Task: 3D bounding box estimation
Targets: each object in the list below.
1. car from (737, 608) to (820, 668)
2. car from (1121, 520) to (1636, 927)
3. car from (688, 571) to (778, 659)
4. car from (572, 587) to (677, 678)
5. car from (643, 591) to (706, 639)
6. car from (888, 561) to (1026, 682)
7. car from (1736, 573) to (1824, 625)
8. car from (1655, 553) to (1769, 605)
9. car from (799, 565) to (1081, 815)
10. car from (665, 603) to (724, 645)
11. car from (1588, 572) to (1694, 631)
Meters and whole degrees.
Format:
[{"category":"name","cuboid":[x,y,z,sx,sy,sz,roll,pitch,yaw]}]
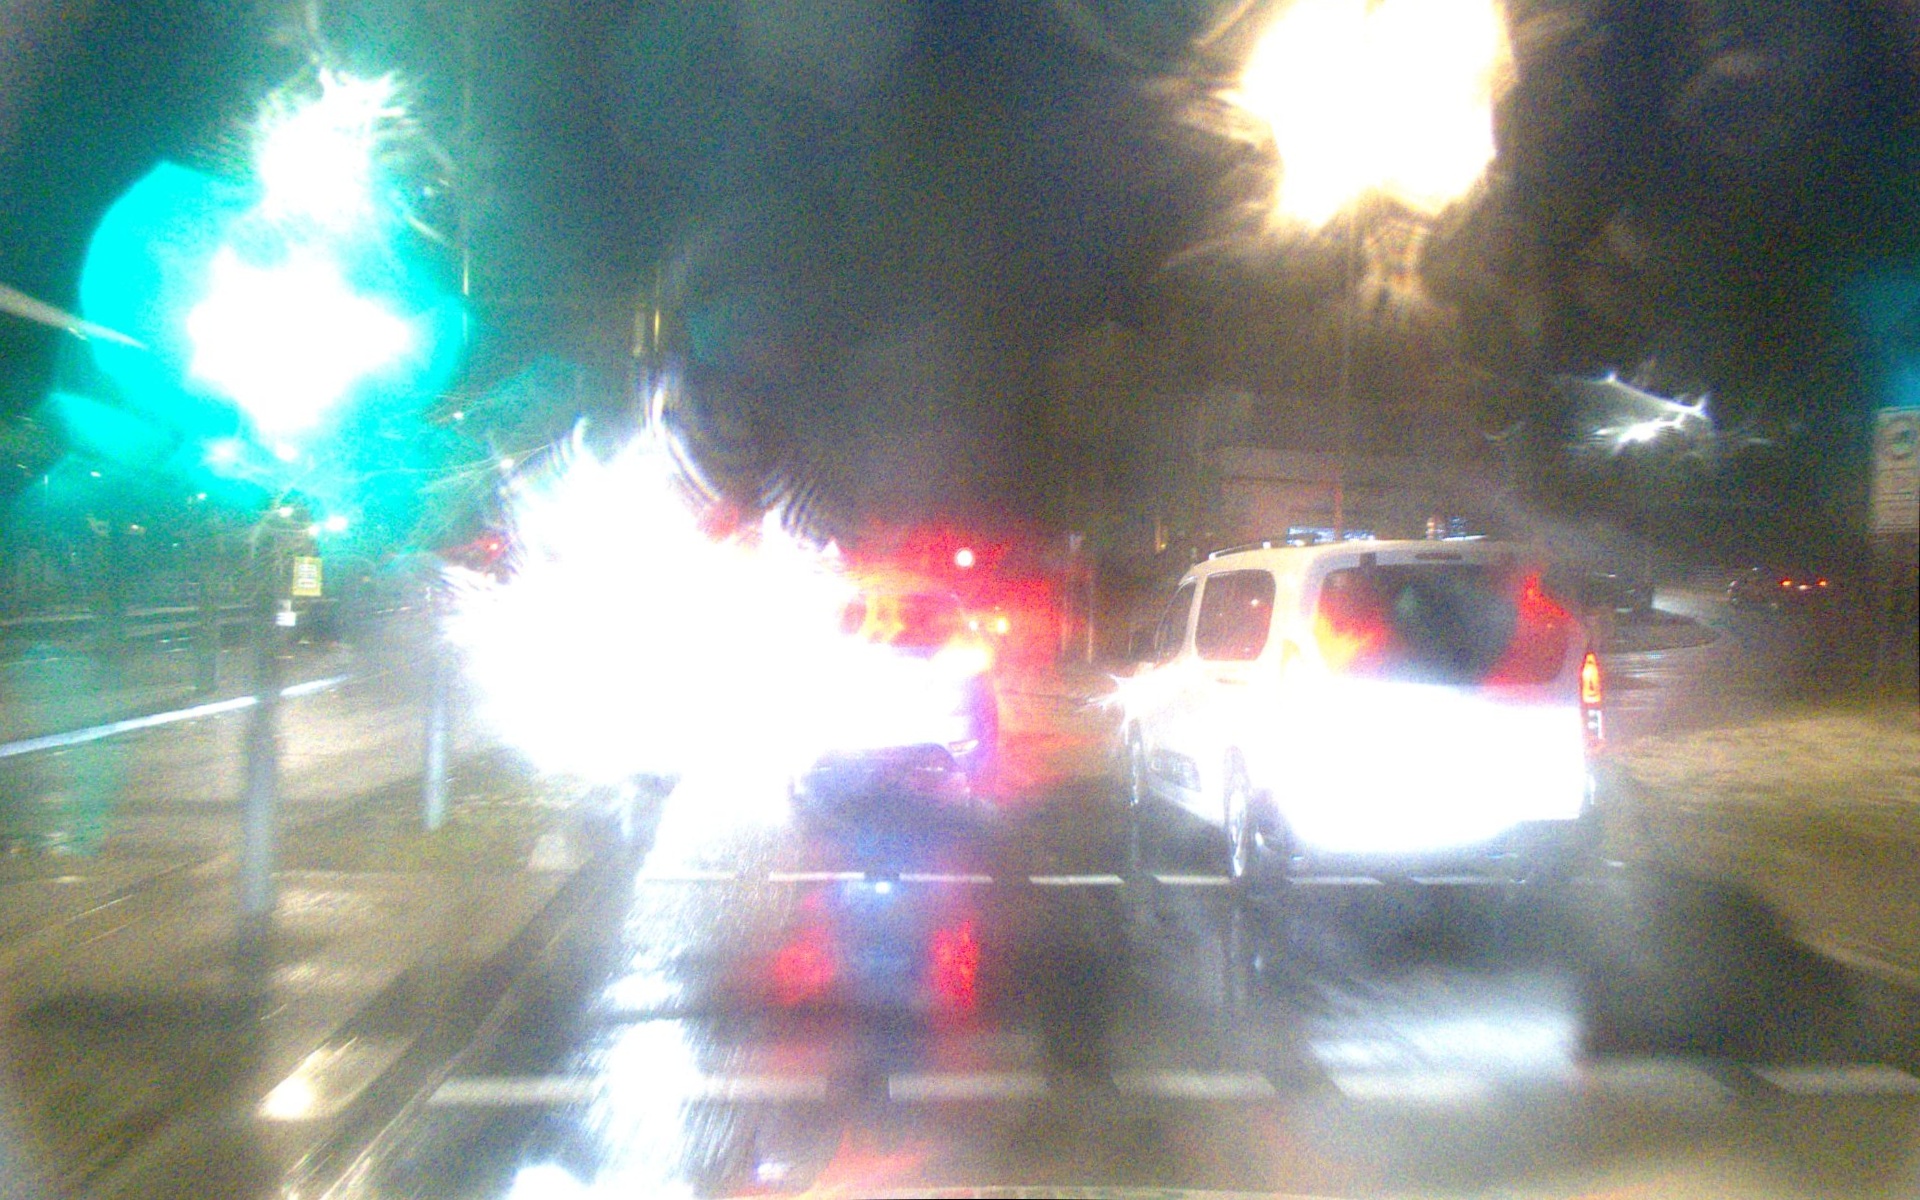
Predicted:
[{"category":"car","cuboid":[-5.773,1.161,52.243,1.961,1.748,3.983,1,0,-16]},{"category":"car","cuboid":[2.204,0.588,10.009,1.815,1.897,4.338,1,0,-3]},{"category":"car","cuboid":[-5.672,0.347,41.033,1.958,2.049,3.989,1,0,-11]},{"category":"car","cuboid":[-7.762,0.693,38.013,1.982,1.920,4.432,1,0,-16]},{"category":"car","cuboid":[-11.018,0.560,63.746,1.961,1.763,3.983,1,0,-16]},{"category":"car","cuboid":[-0.132,0.374,30.925,1.932,2.082,3.991,1,0,-9]},{"category":"car","cuboid":[28.326,-0.030,57.243,1.734,1.698,4.073,1,0,11]},{"category":"car","cuboid":[31.161,-0.873,68.632,3.902,2.049,2.002,1,0,12]},{"category":"car","cuboid":[-0.264,0.639,13.987,1.974,1.747,4.449,1,0,-3]},{"category":"car","cuboid":[-11.642,1.034,72.300,1.963,1.699,3.980,1,0,-18]},{"category":"car","cuboid":[20.650,0.034,50.310,1.825,1.675,3.965,-2,0,4]}]
